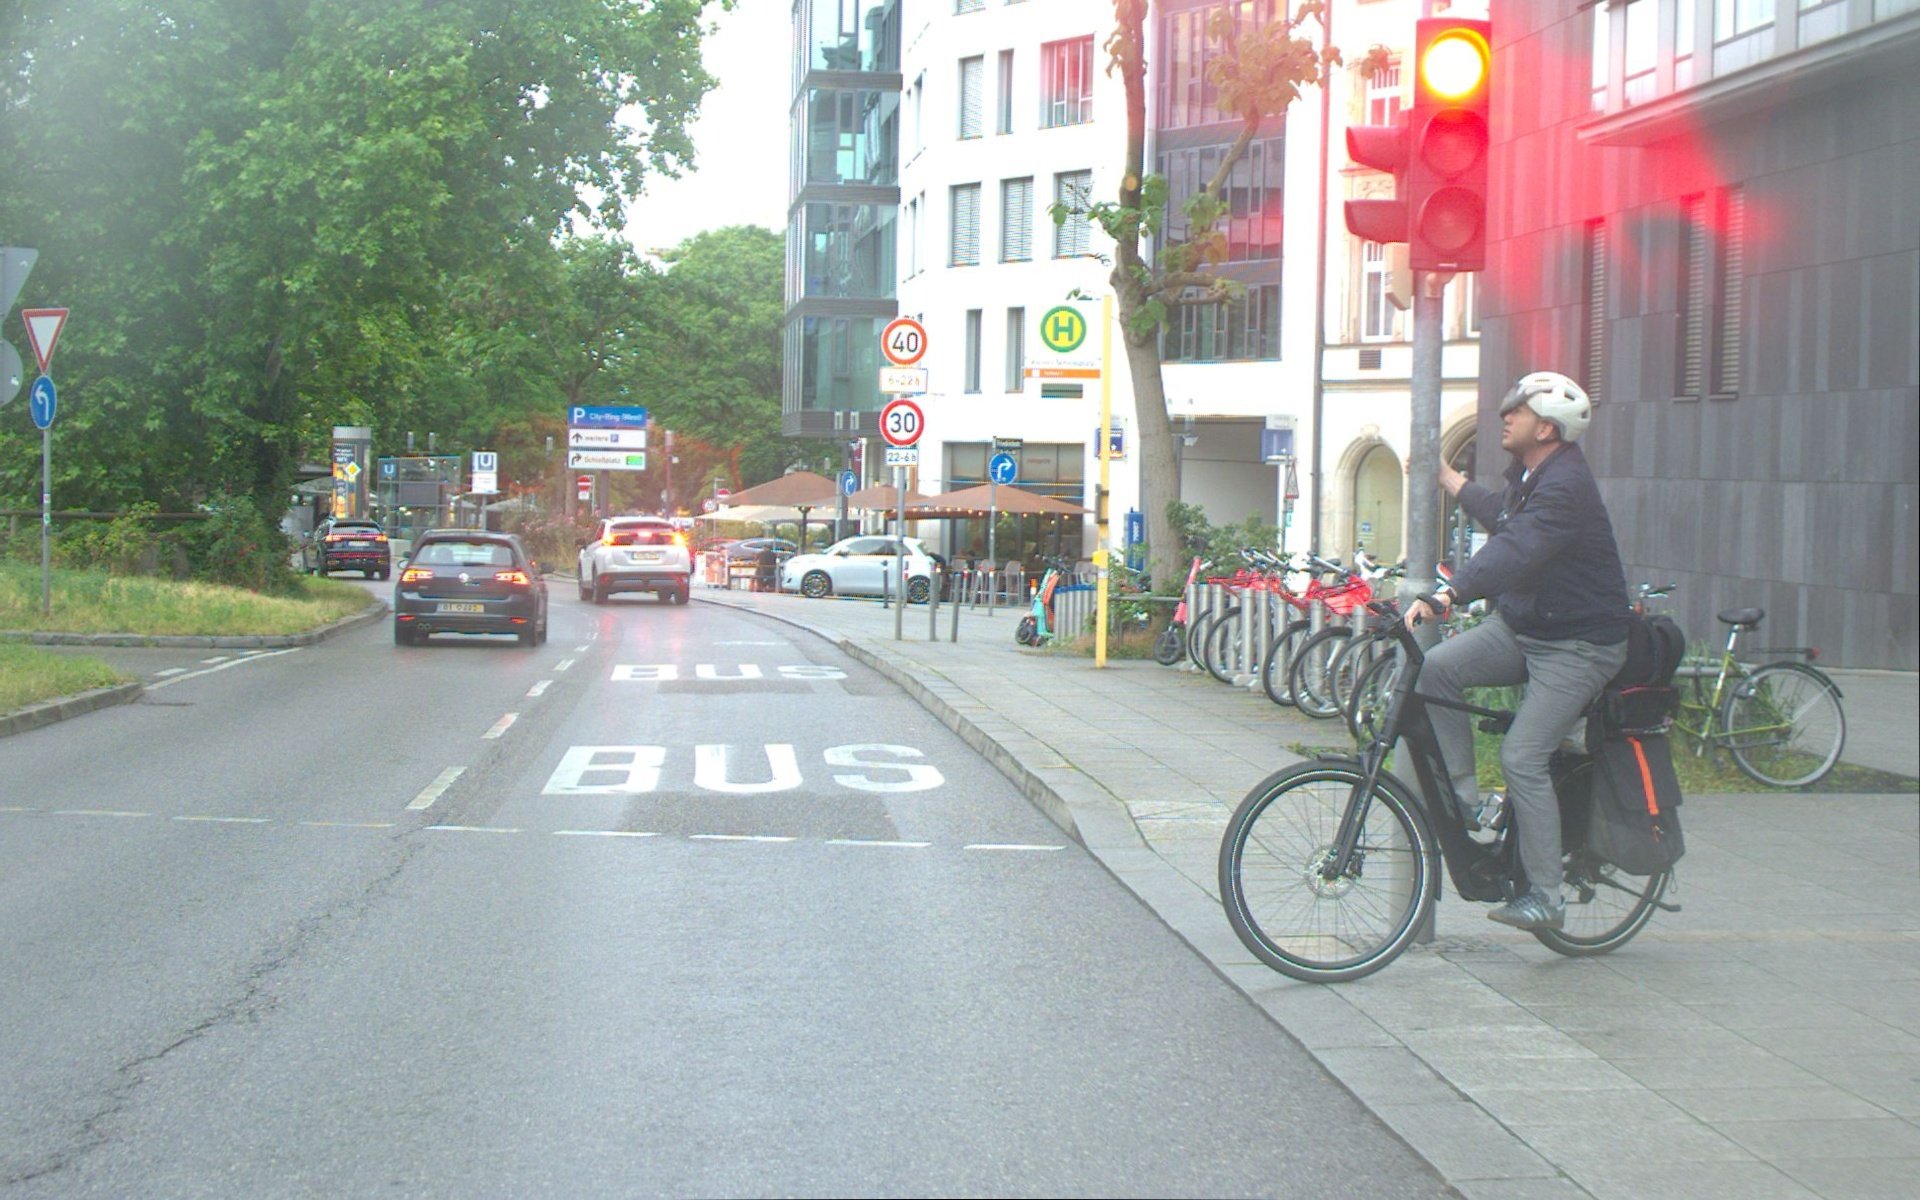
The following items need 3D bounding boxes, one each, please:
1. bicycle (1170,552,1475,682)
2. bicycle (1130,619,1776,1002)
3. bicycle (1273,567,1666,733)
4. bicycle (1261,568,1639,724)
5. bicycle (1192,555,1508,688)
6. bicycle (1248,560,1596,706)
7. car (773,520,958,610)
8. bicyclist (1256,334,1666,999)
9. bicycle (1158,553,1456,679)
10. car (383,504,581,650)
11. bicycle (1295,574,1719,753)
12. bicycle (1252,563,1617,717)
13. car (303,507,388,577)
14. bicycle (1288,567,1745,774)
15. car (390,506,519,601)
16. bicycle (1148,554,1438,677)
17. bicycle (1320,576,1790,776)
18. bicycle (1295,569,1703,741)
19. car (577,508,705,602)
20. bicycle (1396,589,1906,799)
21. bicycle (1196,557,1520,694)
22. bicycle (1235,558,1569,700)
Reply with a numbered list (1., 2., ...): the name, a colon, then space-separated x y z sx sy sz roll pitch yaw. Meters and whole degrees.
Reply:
1. bicycle: 3.126 0.144 29.760 2.535 1.083 0.677 0 1 -5
2. bicycle: 1.652 0.644 11.345 2.126 1.141 0.763 0 1 -33
3. bicycle: 3.447 0.334 23.333 2.535 1.083 0.677 0 1 -5
4. bicycle: 3.438 0.319 24.199 2.535 1.056 0.677 0 1 -5
5. bicycle: 3.265 0.175 28.872 2.535 1.083 0.677 0 1 -5
6. bicycle: 3.525 0.248 26.304 2.535 1.083 0.677 0 1 -5
7. car: -2.171 -0.810 78.194 3.986 1.641 2.000 5 1 -4
8. bicyclist: 1.652 0.201 11.342 1.081 2.076 0.763 0 1 -33
9. bicycle: 3.066 0.140 30.508 2.535 1.083 0.677 0 1 -5
10. car: -5.994 -0.330 43.575 2.161 1.700 4.555 1 1 -4
11. bicycle: 3.432 0.392 21.668 2.535 1.083 0.677 0 1 -5
12. bicycle: 3.452 0.286 25.108 2.535 1.083 0.677 0 1 -5
13. car: -15.137 -1.445 84.591 1.944 1.641 4.001 1 1 -11
14. bicycle: 3.293 0.412 20.442 2.535 1.083 0.677 3 1 -5
15. car: -9.378 -0.878 63.585 1.944 1.641 4.246 1 1 -14
16. bicycle: 3.019 0.134 31.229 2.535 1.083 0.627 0 1 -5
17. bicycle: 3.384 0.426 19.639 2.535 1.083 0.677 1 1 -5
18. bicycle: 3.517 0.356 22.523 2.535 1.083 0.677 0 1 -5
19. car: -6.182 -0.887 66.272 2.178 1.695 4.001 1 1 -9
20. bicycle: 3.636 0.490 18.163 2.535 1.053 0.677 1 1 -5
21. bicycle: 3.243 0.205 28.120 2.535 1.083 0.677 0 1 -5
22. bicycle: 3.497 0.227 27.282 2.535 1.083 0.677 0 1 -5
